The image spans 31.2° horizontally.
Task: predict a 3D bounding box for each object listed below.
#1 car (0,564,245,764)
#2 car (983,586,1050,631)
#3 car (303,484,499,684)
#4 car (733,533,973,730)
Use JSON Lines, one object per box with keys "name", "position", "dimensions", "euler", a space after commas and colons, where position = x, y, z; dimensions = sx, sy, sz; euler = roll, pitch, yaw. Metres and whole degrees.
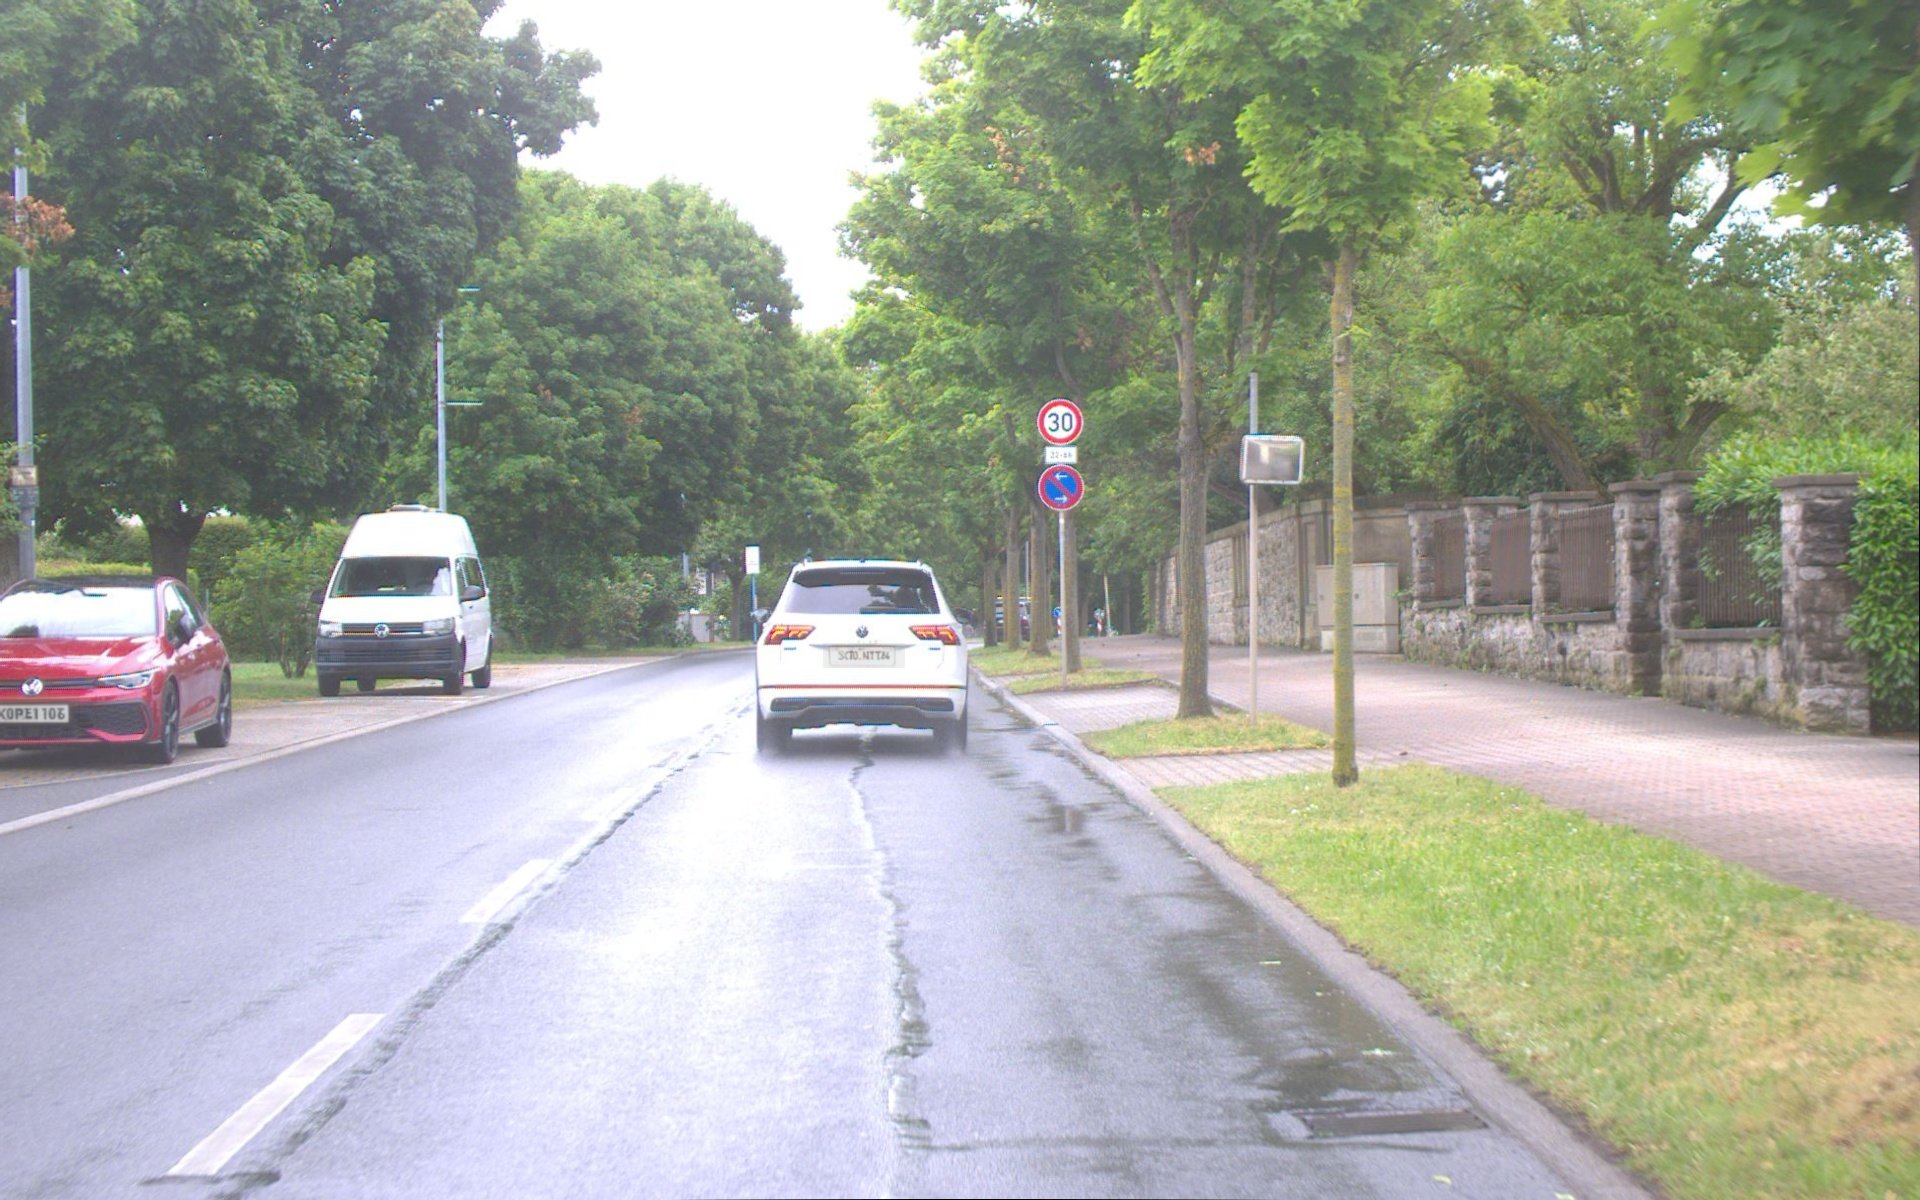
{"name": "car", "position": [-6.966, 0.452, 27.329], "dimensions": [1.843, 1.461, 4.250], "euler": [0, 0, -2]}
{"name": "car", "position": [2.023, 0.315, 121.893], "dimensions": [1.841, 1.482, 3.998], "euler": [-2, -1, 8]}
{"name": "car", "position": [-7.553, -0.216, 46.909], "dimensions": [1.993, 2.552, 5.233], "euler": [-1, 0, -2]}
{"name": "car", "position": [-0.933, 0.222, 30.769], "dimensions": [1.996, 1.626, 4.000], "euler": [0, 1, -1]}
